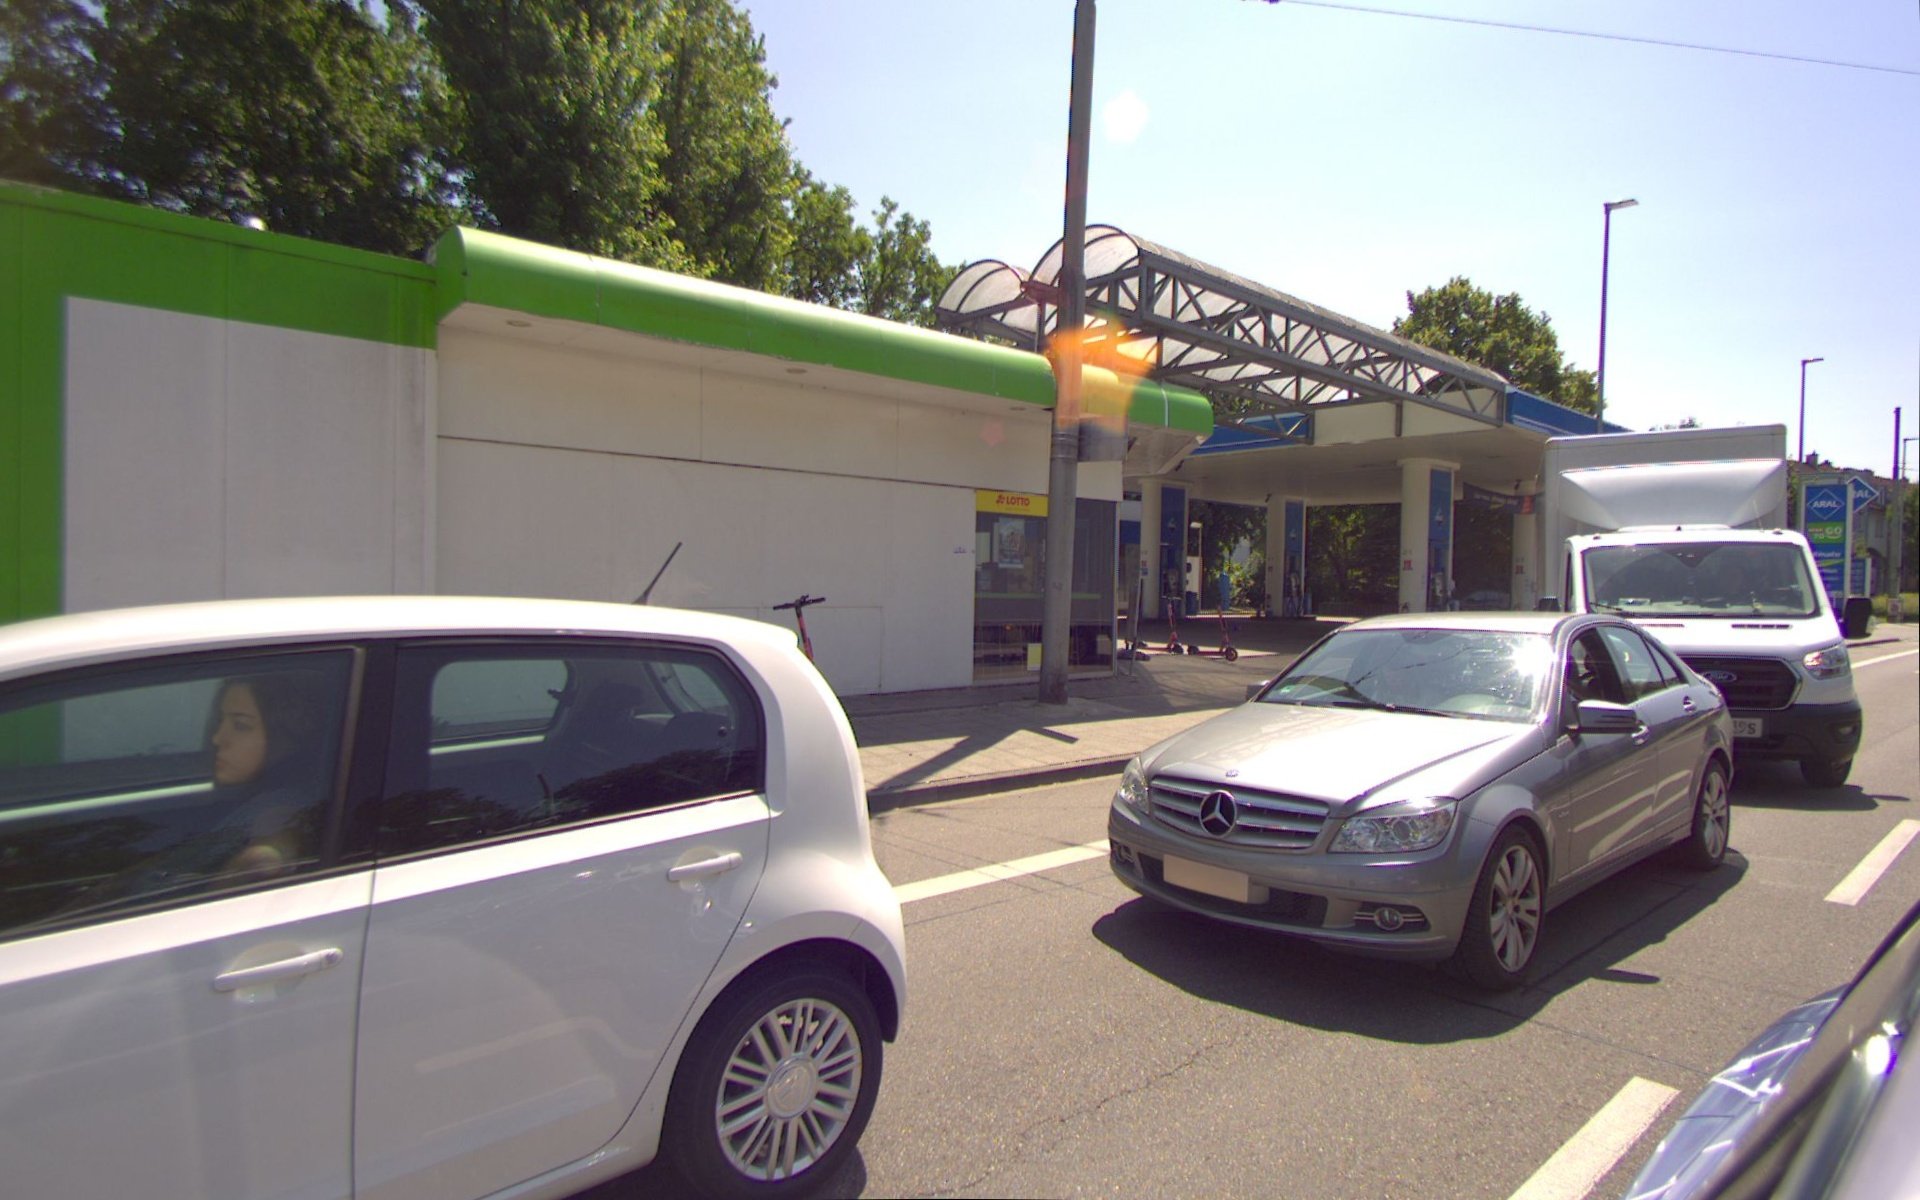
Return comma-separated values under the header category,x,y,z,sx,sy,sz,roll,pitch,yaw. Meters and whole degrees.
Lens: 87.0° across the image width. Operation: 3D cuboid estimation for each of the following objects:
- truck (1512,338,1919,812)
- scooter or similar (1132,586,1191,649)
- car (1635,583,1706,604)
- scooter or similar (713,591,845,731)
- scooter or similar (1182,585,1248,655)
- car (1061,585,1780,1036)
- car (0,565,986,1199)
category,x,y,z,sx,sy,sz,roll,pitch,yaw
truck,7.747,-0.257,11.307,2.404,3.433,7.762,1,1,26
scooter or similar,3.959,0.326,19.929,0.377,1.191,1.138,0,1,-39
car,57.195,-0.536,81.502,1.961,1.540,4.230,0,1,-32
scooter or similar,-1.670,0.534,9.378,1.117,1.209,0.384,0,4,-36
scooter or similar,4.776,0.362,18.970,0.404,1.256,1.176,0,1,-39
car,2.713,0.682,5.433,4.339,1.467,1.800,0,1,-40
car,-1.773,0.665,2.289,3.458,1.469,1.610,0,1,-40
